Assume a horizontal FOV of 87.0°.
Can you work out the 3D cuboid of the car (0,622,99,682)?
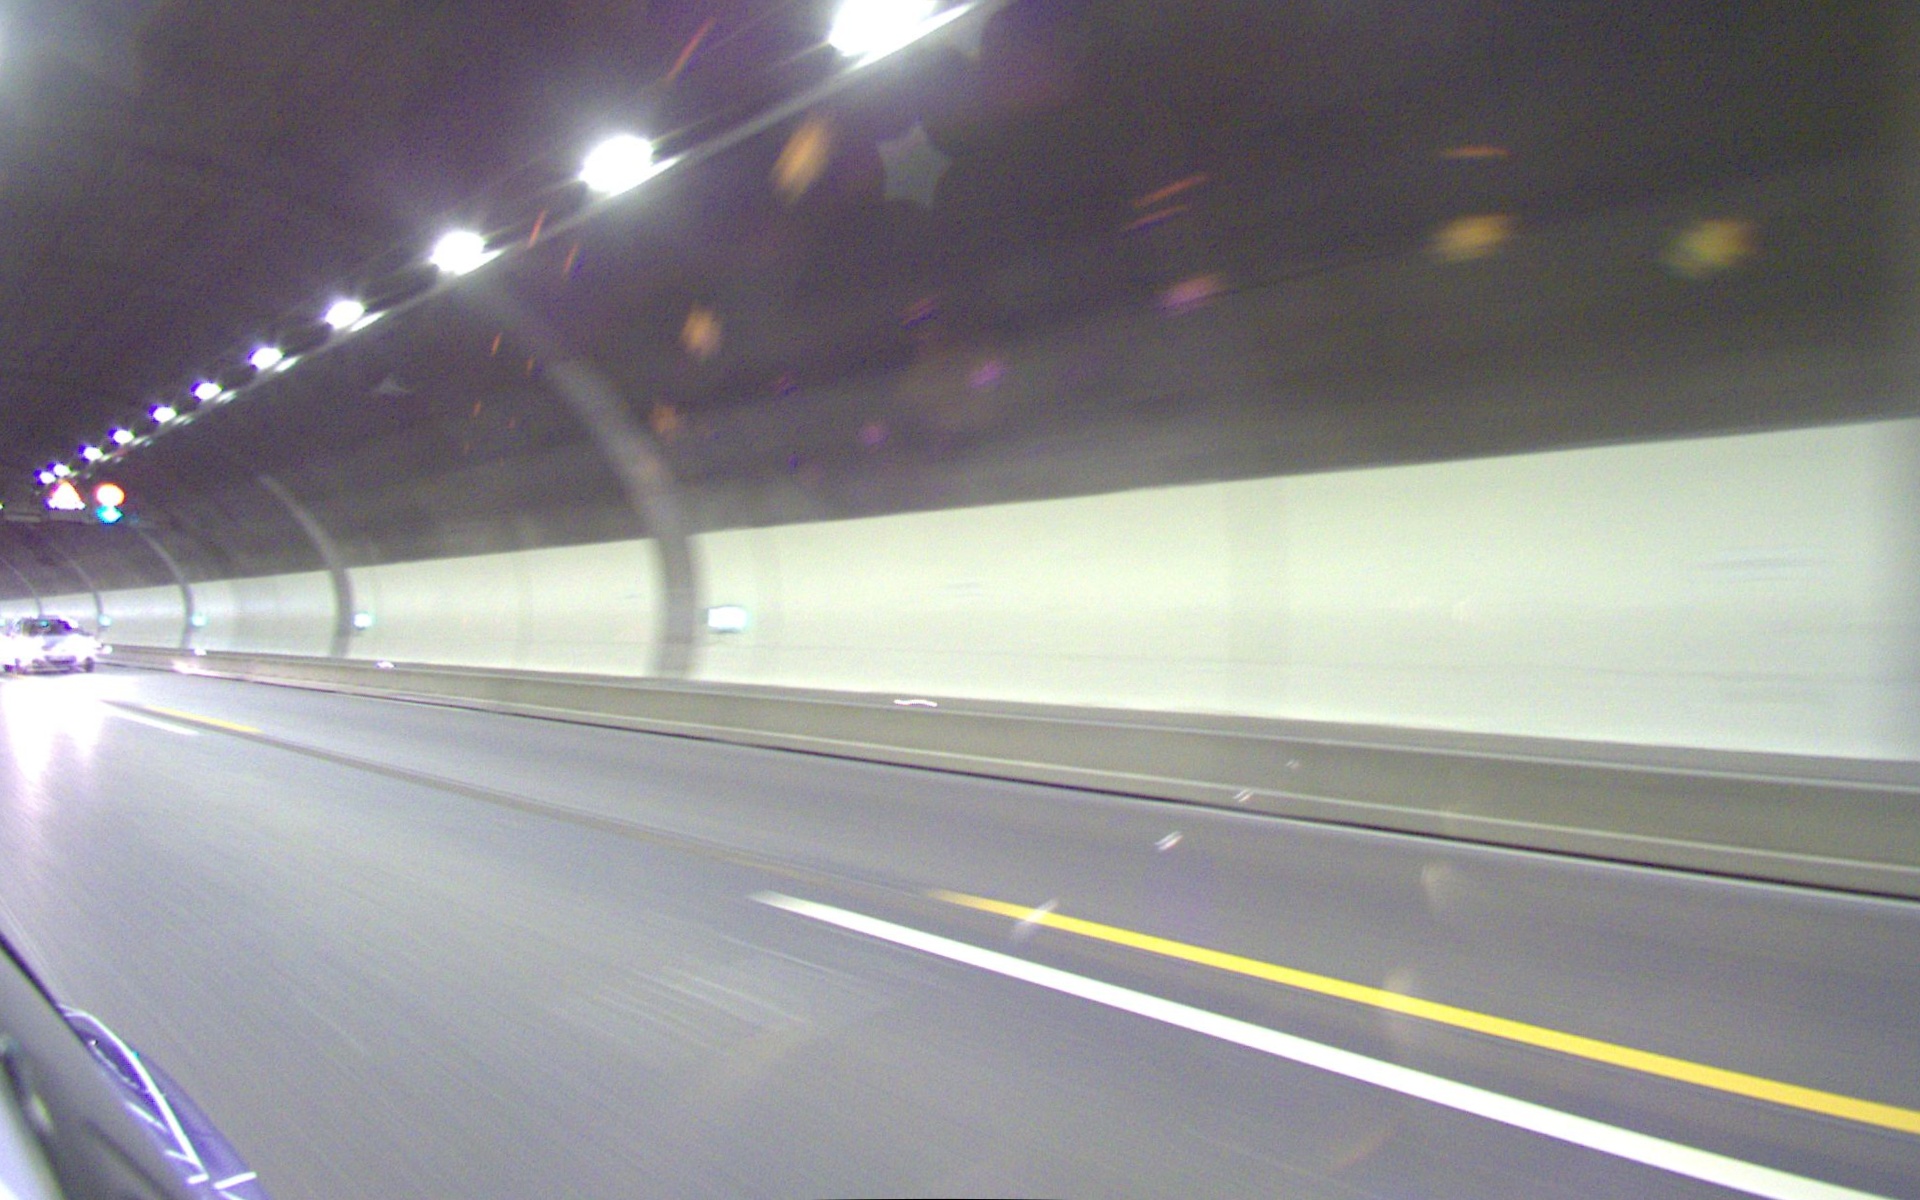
[{"bbox_3d":[-26.038,1.415,28.718,4.093,1.584,1.745,-1,-1,39],"label":"car"}]
